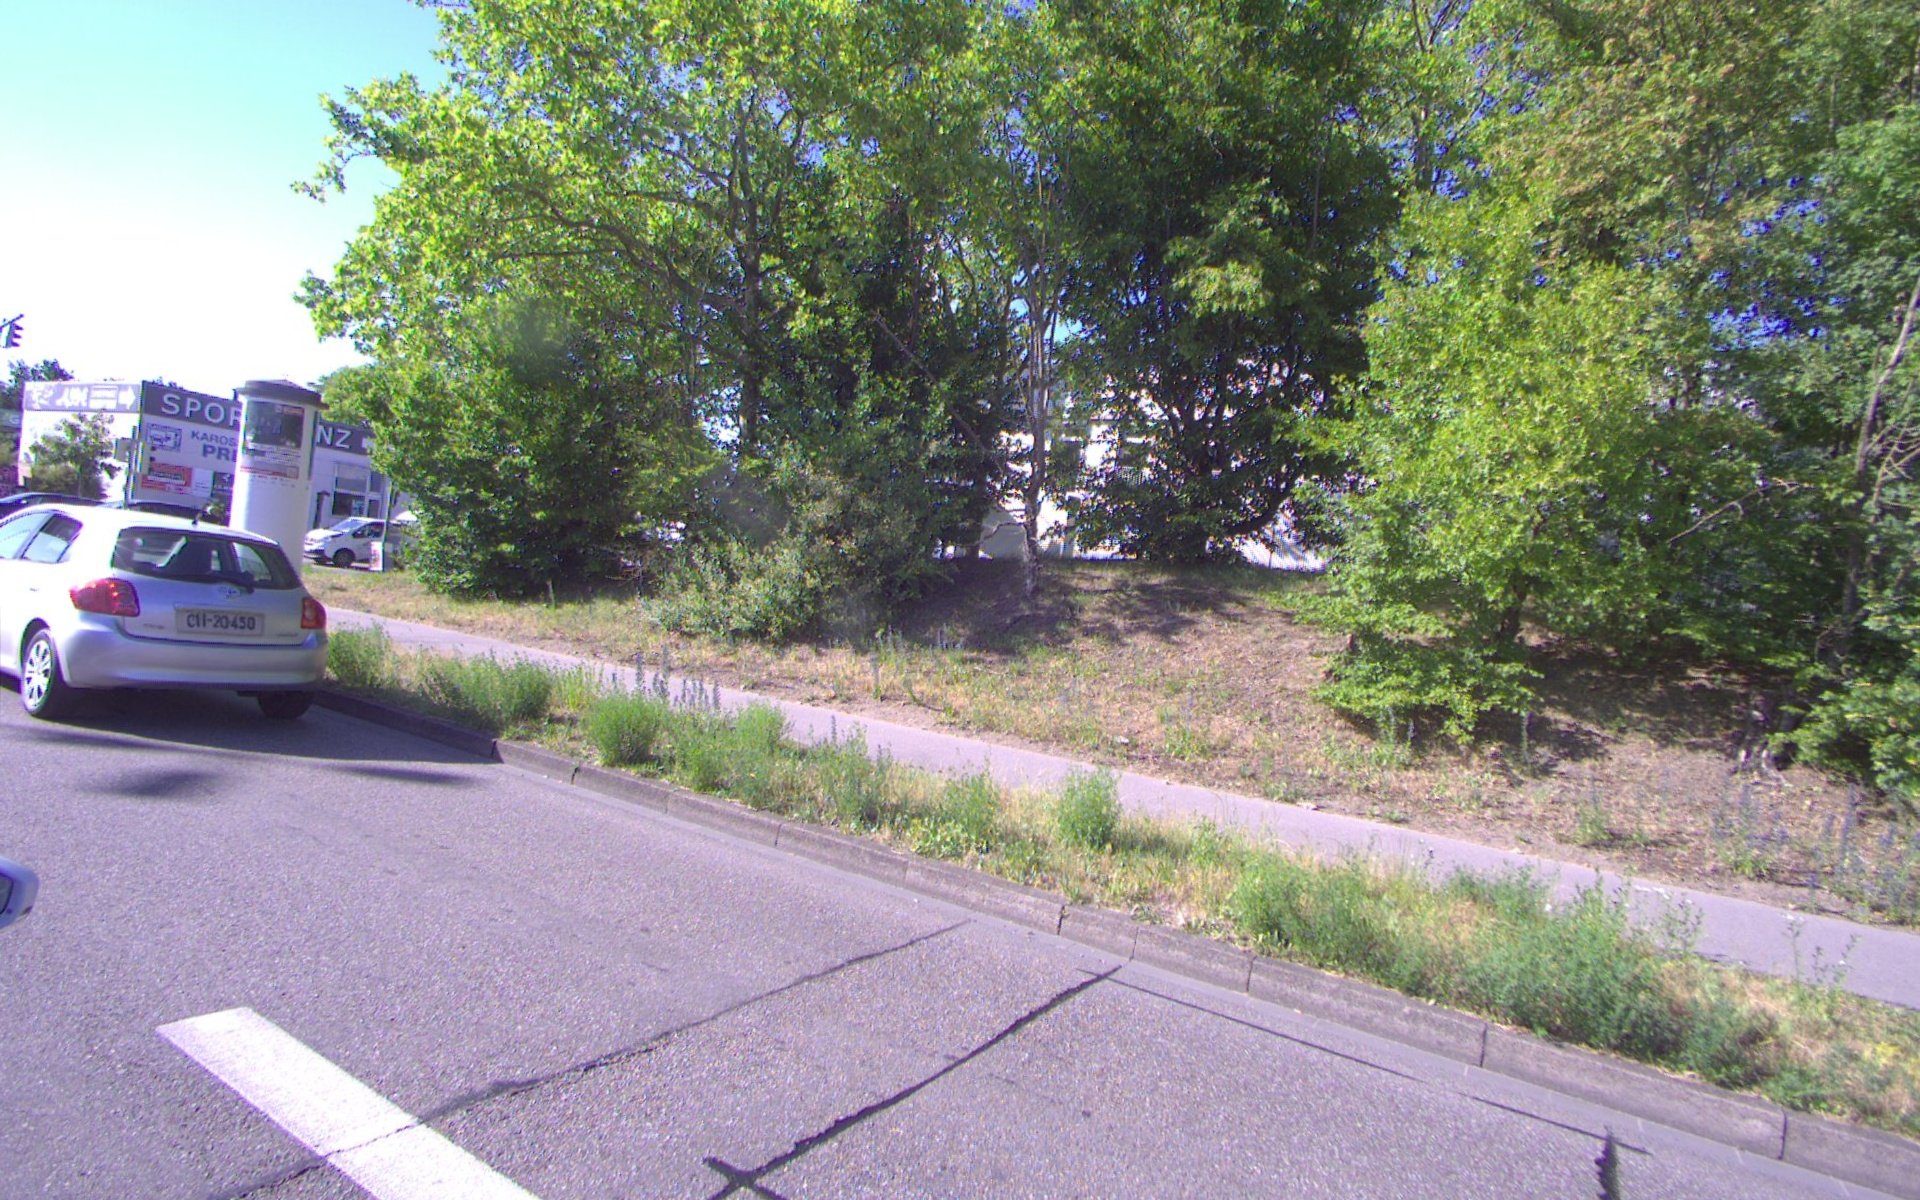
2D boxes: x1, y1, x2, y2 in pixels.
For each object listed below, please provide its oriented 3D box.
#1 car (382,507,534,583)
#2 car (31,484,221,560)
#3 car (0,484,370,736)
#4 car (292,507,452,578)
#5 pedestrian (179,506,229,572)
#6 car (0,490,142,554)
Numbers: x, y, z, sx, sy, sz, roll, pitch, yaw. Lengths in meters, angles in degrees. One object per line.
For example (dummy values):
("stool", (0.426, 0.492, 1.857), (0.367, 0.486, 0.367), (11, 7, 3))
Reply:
("car", (-22.633, -2.434, 45.645), (1.967, 2.706, 5.840), (6, 0, 32))
("car", (-26.789, -2.461, 32.467), (1.611, 1.668, 4.316), (6, -2, 31))
("car", (-6.936, -0.023, 8.266), (4.039, 1.555, 1.787), (7, -2, 32))
("car", (-22.764, -2.162, 39.167), (1.849, 2.060, 4.962), (7, -1, 30))
("pedestrian", (-21.006, -1.696, 27.965), (0.506, 1.688, 0.818), (6, -1, 31))
("car", (-30.211, -2.651, 33.004), (1.729, 1.484, 4.830), (6, -2, 30))
